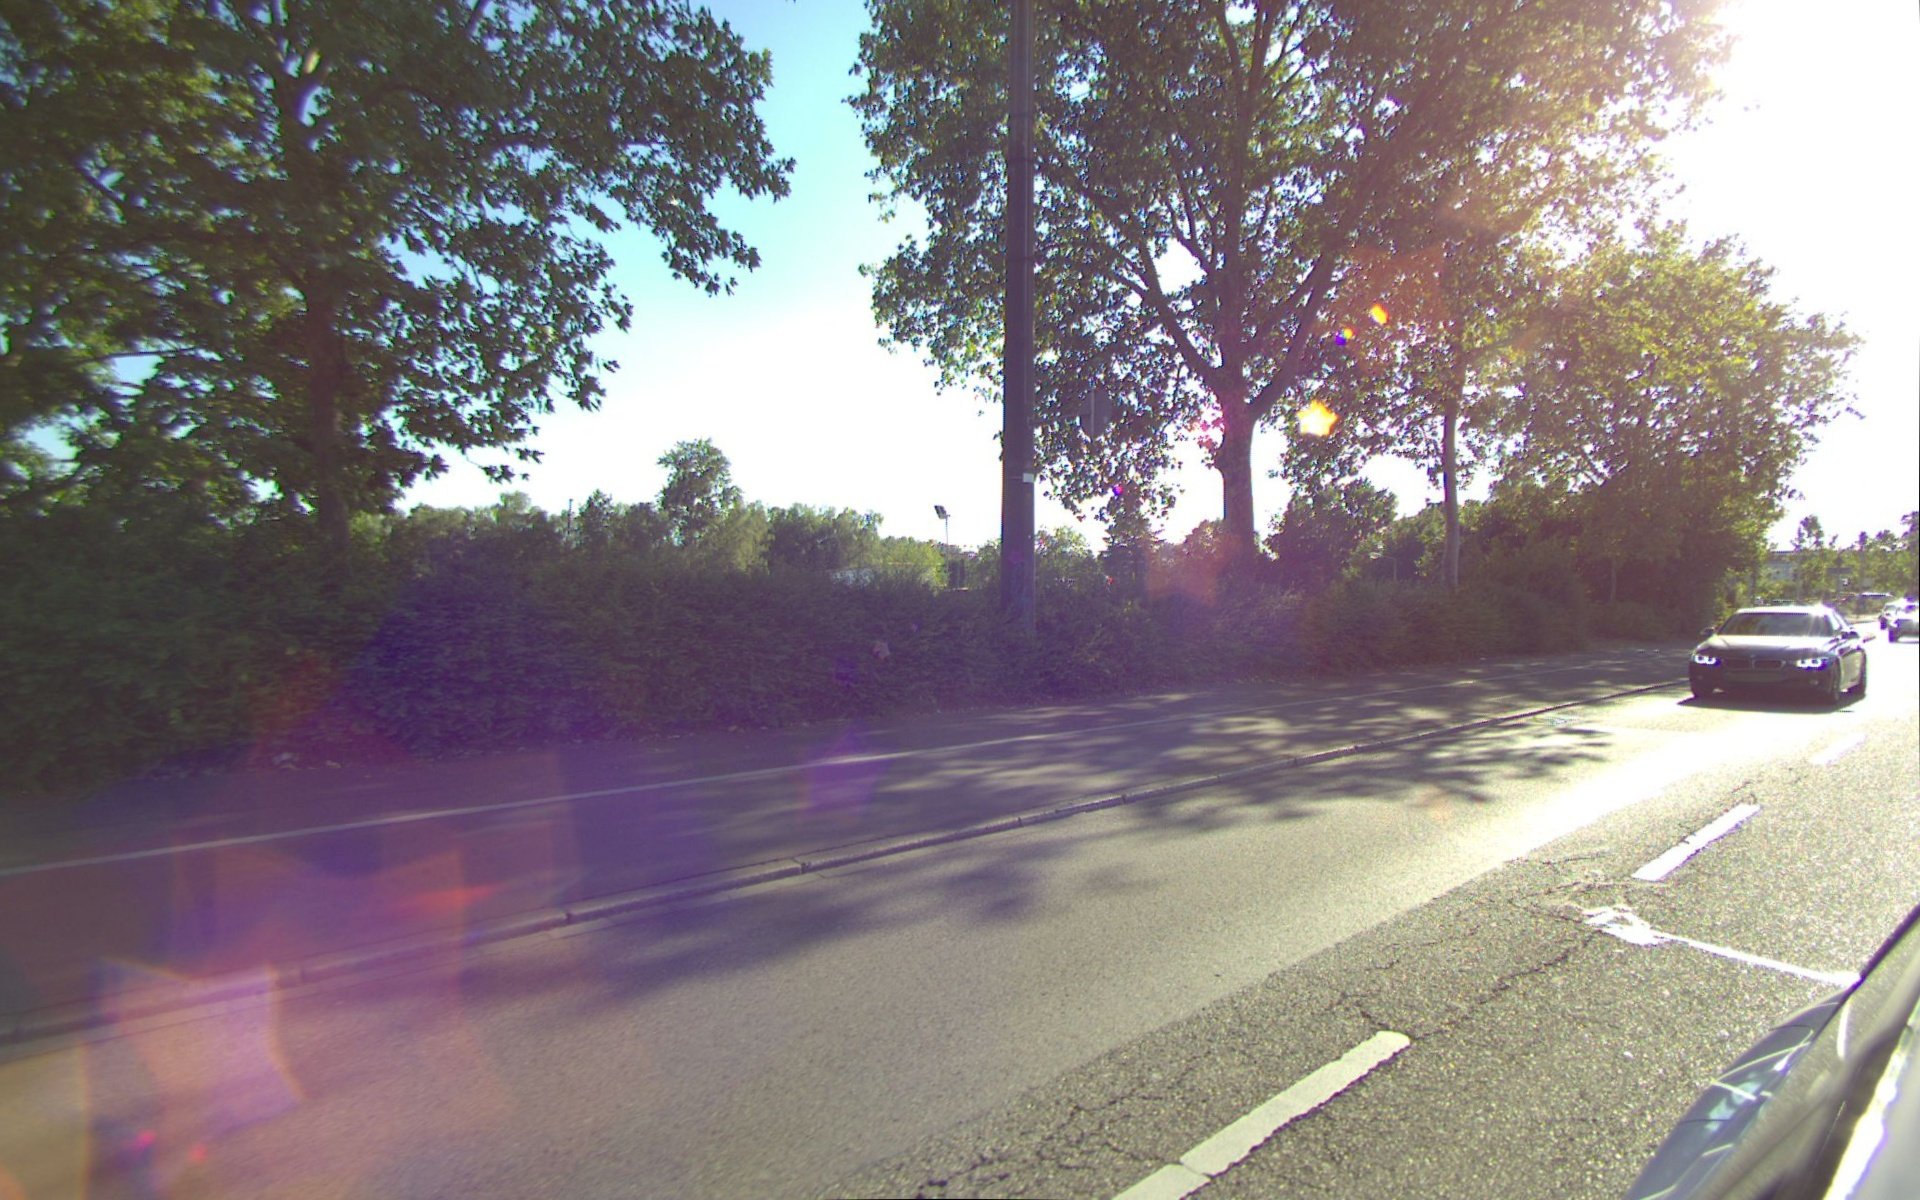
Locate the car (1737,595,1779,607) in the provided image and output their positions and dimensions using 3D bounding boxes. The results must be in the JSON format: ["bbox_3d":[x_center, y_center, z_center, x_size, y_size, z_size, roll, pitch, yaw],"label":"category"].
[{"bbox_3d":[117.641,0.151,149.221,1.827,1.589,4.653,0,-1,-42],"label":"car"}]

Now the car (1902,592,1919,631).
[{"bbox_3d":[36.628,0.422,37.929,1.852,1.441,3.917,0,0,44],"label":"car"}]

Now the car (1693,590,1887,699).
[{"bbox_3d":[13.519,0.610,16.378,4.509,1.486,1.868,-1,1,-43],"label":"car"}]
